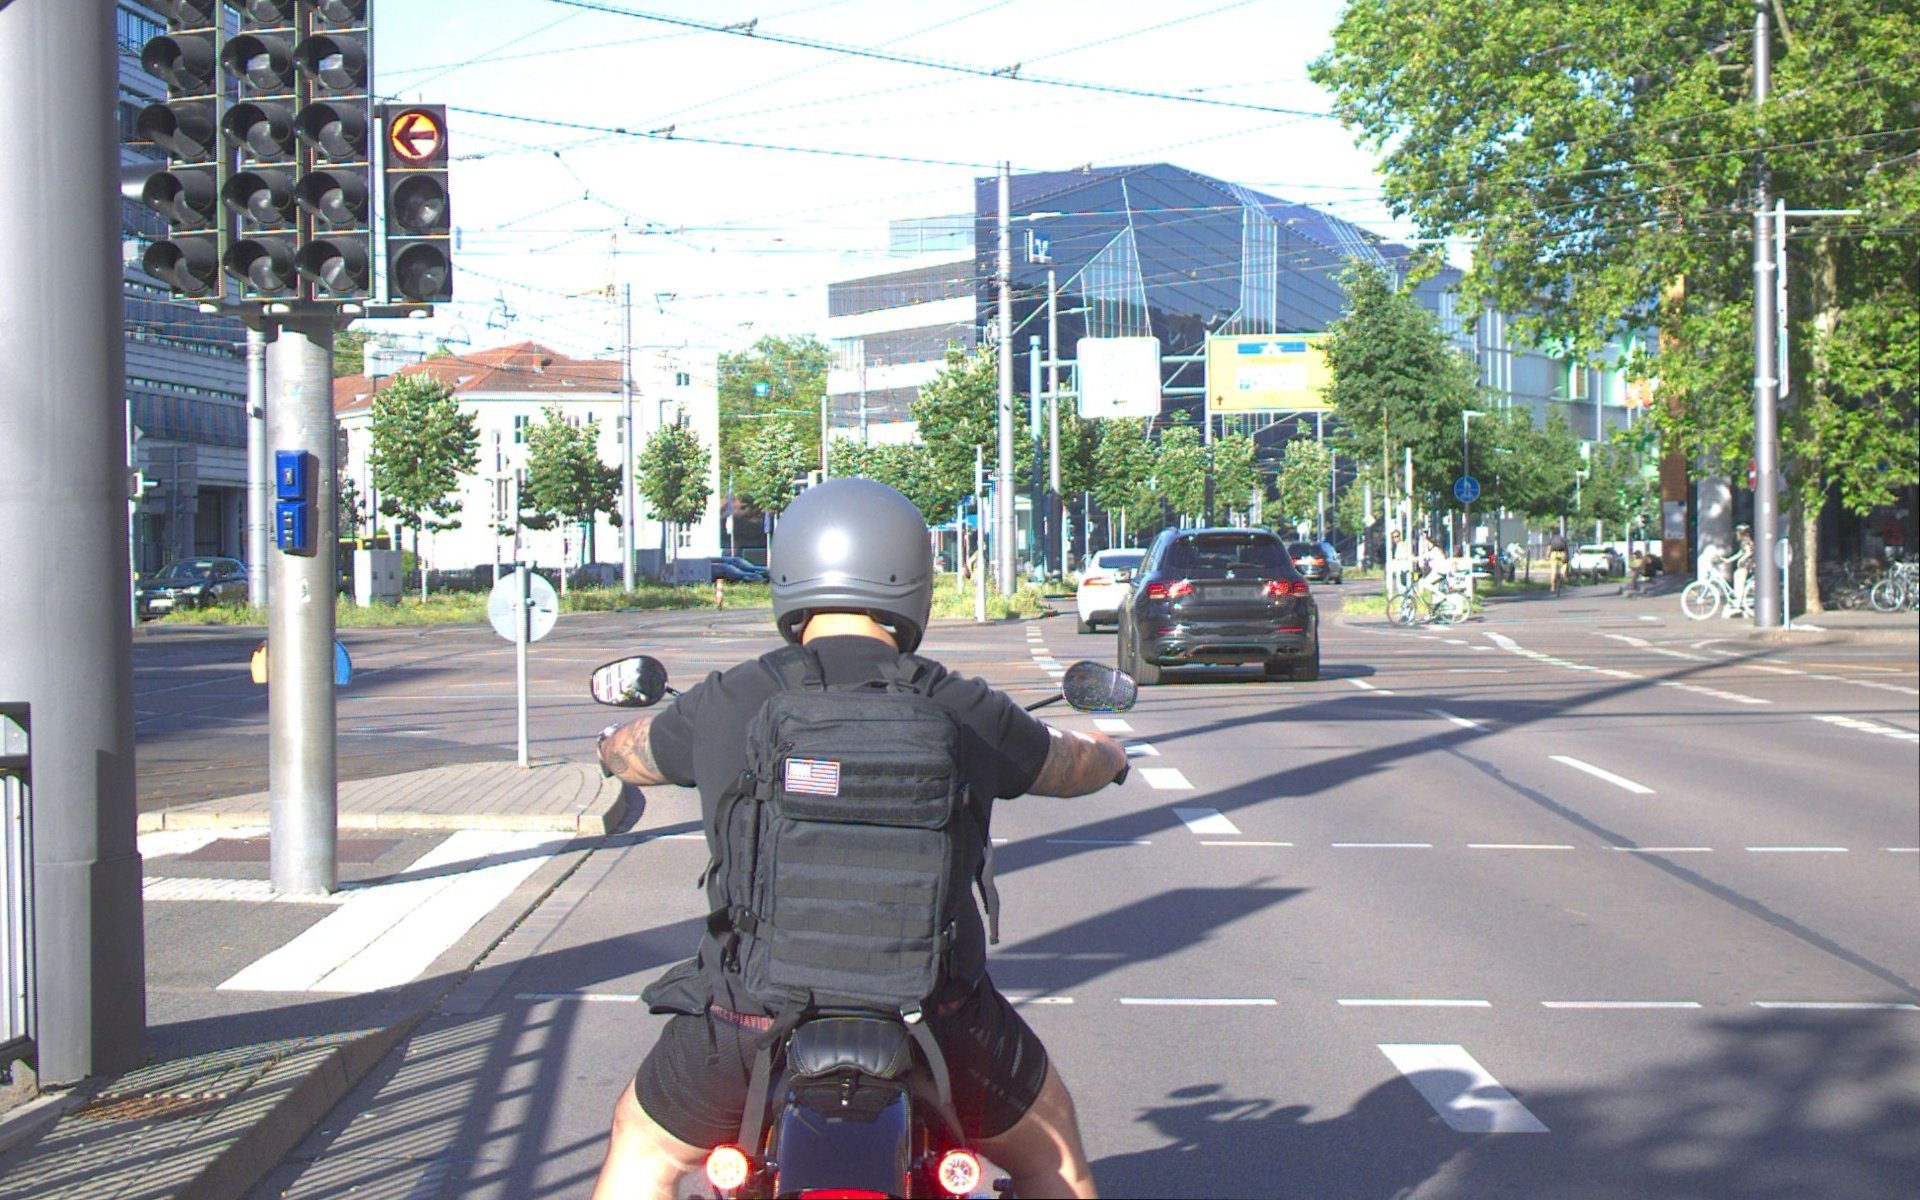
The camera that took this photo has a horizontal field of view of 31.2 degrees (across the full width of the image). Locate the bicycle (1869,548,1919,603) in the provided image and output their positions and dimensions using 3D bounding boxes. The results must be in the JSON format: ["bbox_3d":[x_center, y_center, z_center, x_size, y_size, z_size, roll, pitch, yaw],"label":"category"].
[{"bbox_3d":[18.380,-0.458,65.721,1.880,1.043,0.360,1,0,-1],"label":"bicycle"}]

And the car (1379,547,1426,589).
[{"bbox_3d":[19.784,-1.425,153.644,1.730,1.831,3.573,1,0,12],"label":"car"}]

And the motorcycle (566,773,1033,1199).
[{"bbox_3d":[-0.226,0.880,5.574,0.600,1.032,2.234,1,1,-1],"label":"motorcycle"}]

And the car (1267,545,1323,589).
[{"bbox_3d":[13.440,-1.308,137.747,1.804,1.672,4.039,1,0,11],"label":"car"}]

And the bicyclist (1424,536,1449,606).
[{"bbox_3d":[9.296,-0.569,67.122,0.380,1.368,0.345,1,0,-9],"label":"bicyclist"}]

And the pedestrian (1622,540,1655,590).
[{"bbox_3d":[17.889,-0.916,90.623,0.819,1.309,0.637,1,0,9],"label":"pedestrian"}]

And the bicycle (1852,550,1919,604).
[{"bbox_3d":[18.468,-0.440,67.320,1.880,1.043,0.360,1,0,-1],"label":"bicycle"}]

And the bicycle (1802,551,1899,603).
[{"bbox_3d":[18.299,-0.476,70.644,1.880,1.043,0.360,1,1,-1],"label":"bicycle"}]

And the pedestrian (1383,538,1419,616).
[{"bbox_3d":[8.817,-0.463,68.730,0.587,1.551,0.489,1,0,-8],"label":"pedestrian"}]

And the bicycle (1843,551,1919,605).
[{"bbox_3d":[18.420,-0.432,67.876,1.880,1.043,0.360,1,1,-1],"label":"bicycle"}]

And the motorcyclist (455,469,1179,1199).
[{"bbox_3d":[-0.207,0.602,5.358,1.030,1.588,0.873,0,1,-1],"label":"motorcyclist"}]

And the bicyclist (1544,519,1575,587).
[{"bbox_3d":[15.898,-1.245,91.220,0.697,1.802,0.728,1,0,4],"label":"bicyclist"}]

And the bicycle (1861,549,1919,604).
[{"bbox_3d":[18.432,-0.449,66.504,1.880,1.043,0.360,1,0,-1],"label":"bicycle"}]

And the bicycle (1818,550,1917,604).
[{"bbox_3d":[18.334,-0.460,69.493,1.880,1.043,0.360,1,1,-1],"label":"bicycle"}]

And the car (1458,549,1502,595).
[{"bbox_3d":[21.292,-1.146,140.637,1.531,1.831,3.573,1,0,12],"label":"car"}]

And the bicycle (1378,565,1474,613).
[{"bbox_3d":[9.089,-0.213,67.069,1.825,0.922,0.358,1,0,-8],"label":"bicycle"}]

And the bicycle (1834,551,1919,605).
[{"bbox_3d":[18.402,-0.435,68.508,1.880,1.043,0.360,1,0,-1],"label":"bicycle"}]

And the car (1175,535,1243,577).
[{"bbox_3d":[8.833,-1.570,121.558,1.804,1.425,4.451,0,1,12],"label":"car"}]

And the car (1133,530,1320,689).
[{"bbox_3d":[2.902,0.054,36.710,1.804,1.590,4.452,0,1,7],"label":"car"}]

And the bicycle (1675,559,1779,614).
[{"bbox_3d":[14.553,-0.251,65.241,1.872,1.040,0.536,0,0,19],"label":"bicycle"}]

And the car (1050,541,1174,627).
[{"bbox_3d":[2.591,-0.308,59.442,1.803,1.425,4.453,0,1,-2],"label":"car"}]

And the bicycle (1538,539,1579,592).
[{"bbox_3d":[15.908,-0.904,91.364,0.726,1.362,2.917,1,0,3],"label":"bicycle"}]

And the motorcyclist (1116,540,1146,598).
[{"bbox_3d":[4.737,-0.863,95.356,0.796,1.574,0.529,1,0,5],"label":"motorcyclist"}]

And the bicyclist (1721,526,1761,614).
[{"bbox_3d":[14.798,-0.567,65.160,0.688,1.667,0.540,0,0,19],"label":"bicyclist"}]

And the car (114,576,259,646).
[{"bbox_3d":[-17.631,0.243,78.568,1.750,1.519,3.998,1,0,11],"label":"car"}]

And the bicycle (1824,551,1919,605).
[{"bbox_3d":[18.342,-0.451,68.993,1.880,1.043,0.360,1,1,-1],"label":"bicycle"}]
